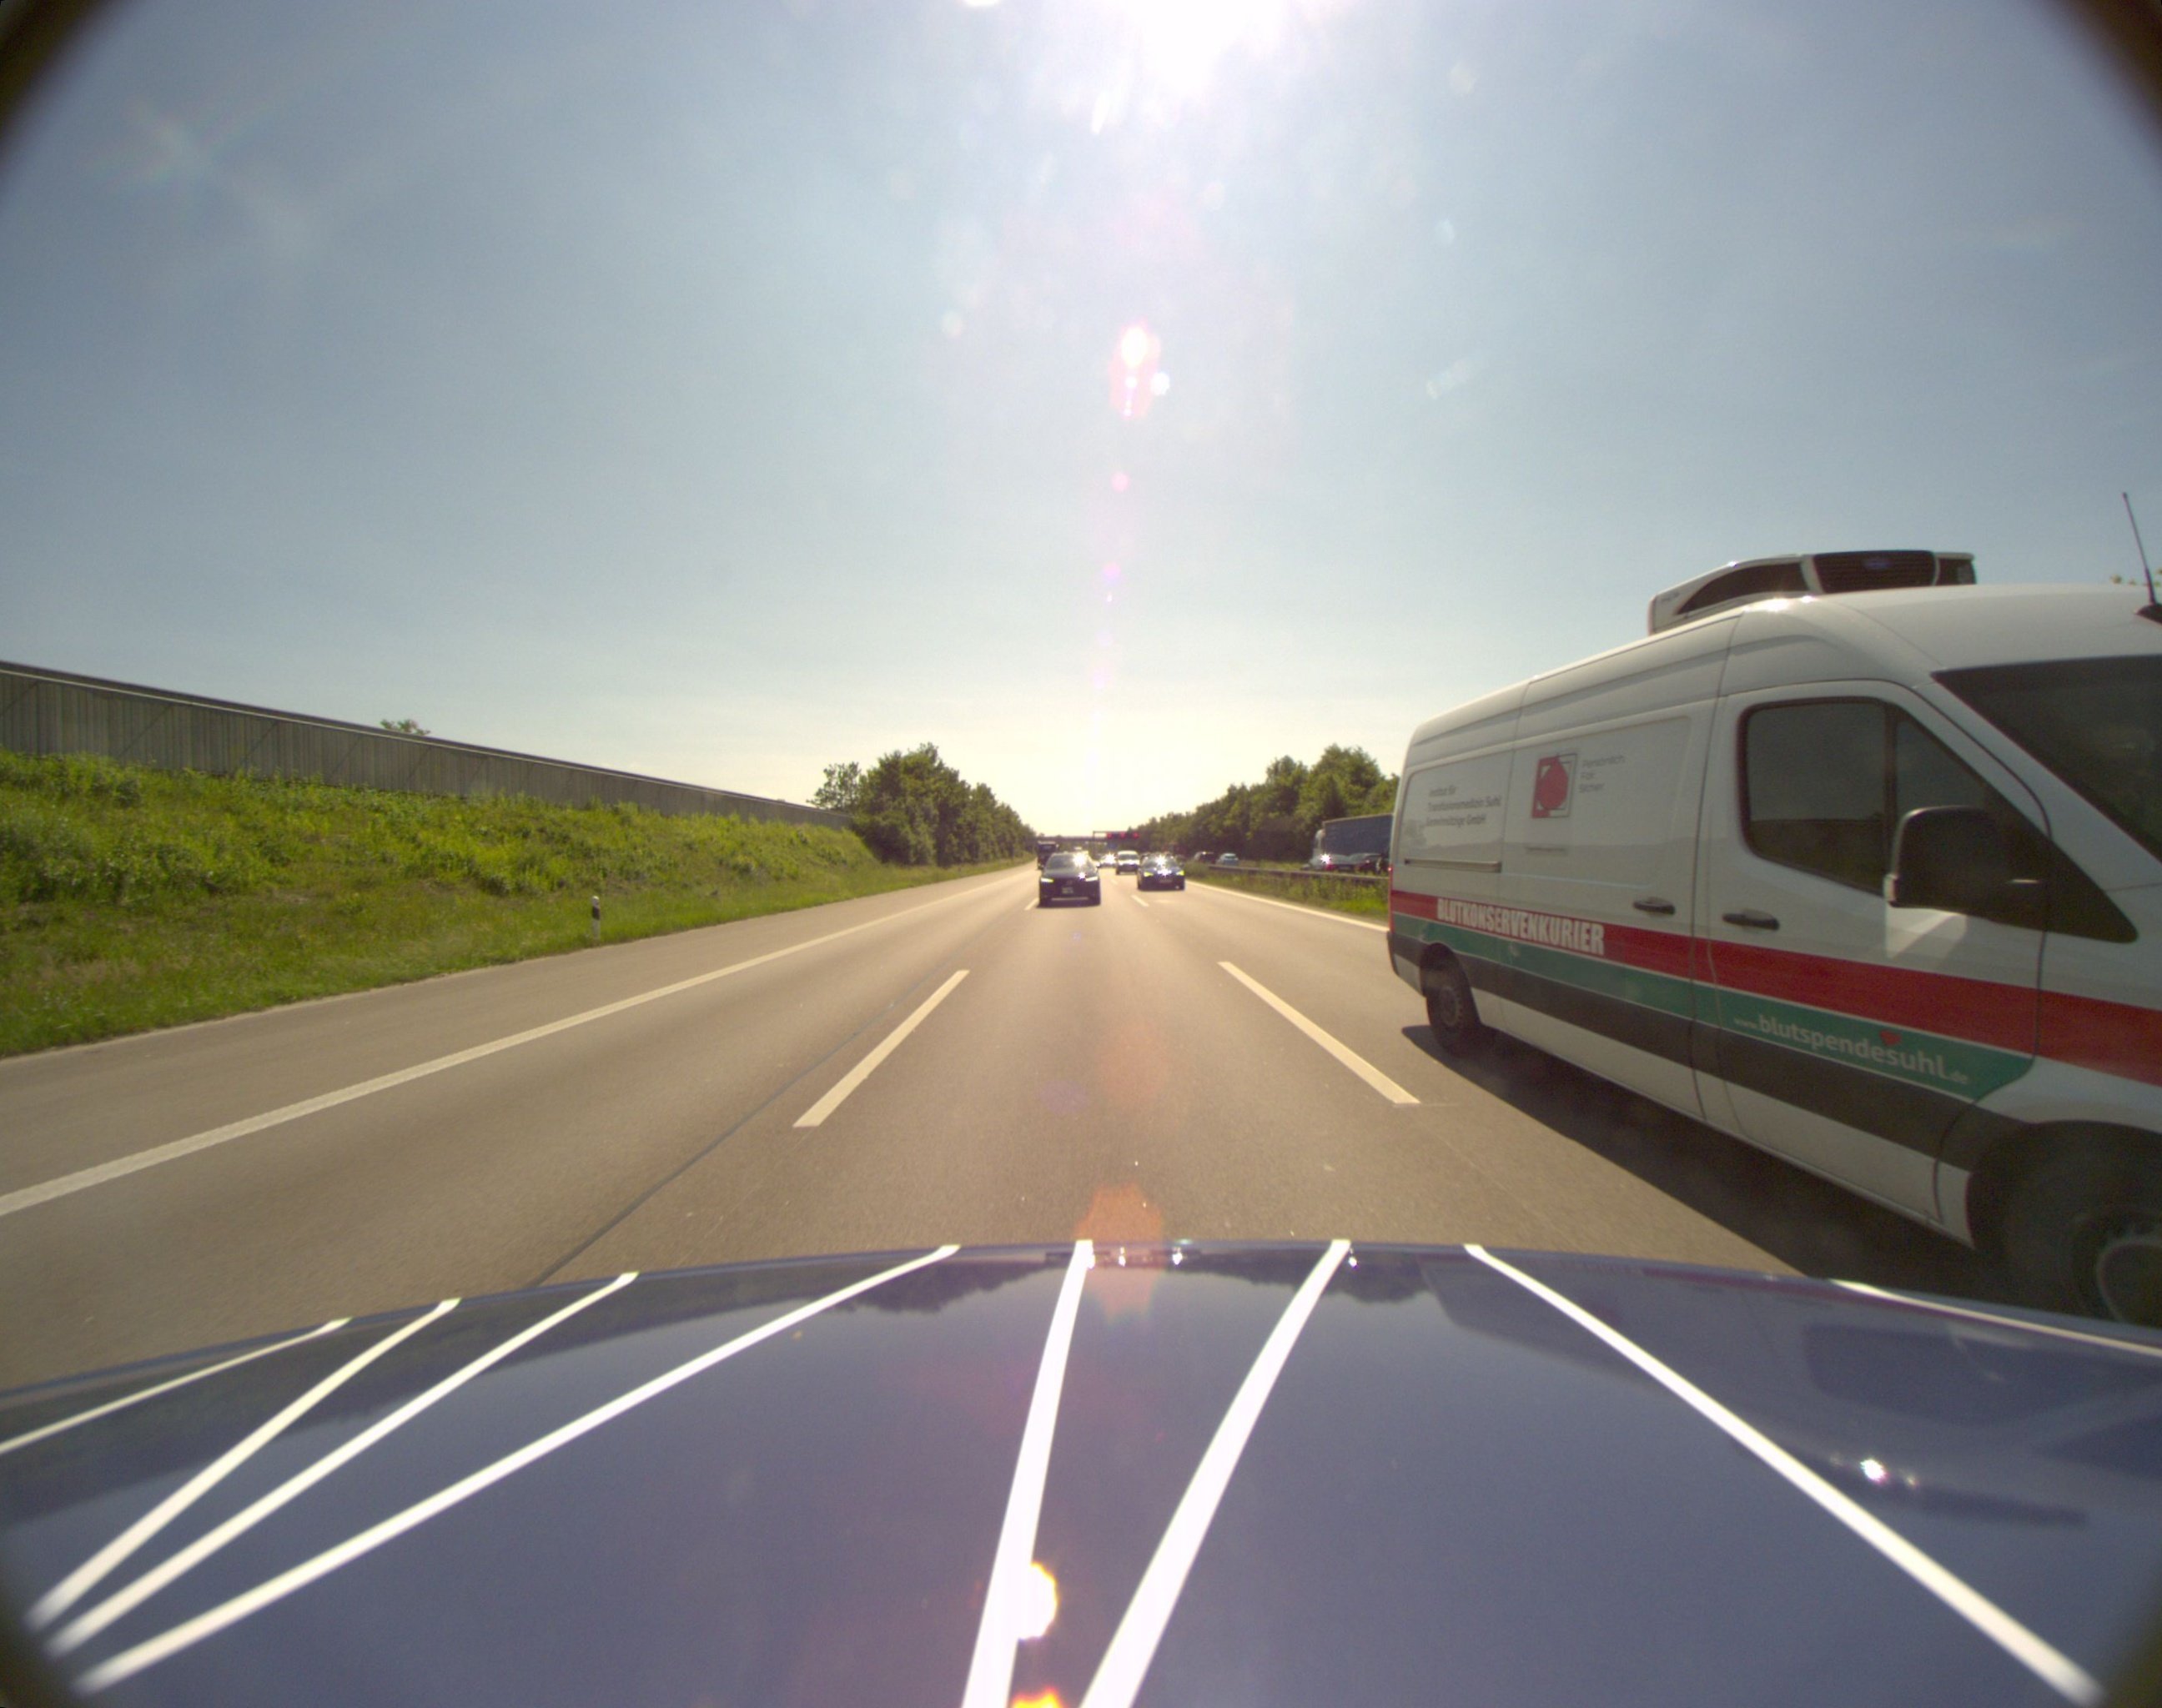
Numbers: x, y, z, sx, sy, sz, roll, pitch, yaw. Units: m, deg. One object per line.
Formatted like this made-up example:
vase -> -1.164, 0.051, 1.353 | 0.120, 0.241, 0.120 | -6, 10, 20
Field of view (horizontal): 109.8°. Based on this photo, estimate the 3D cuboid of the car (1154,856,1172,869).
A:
car -> 12.013, 1.272, 111.481 | 1.999, 1.854, 4.897 | -1, 0, -2

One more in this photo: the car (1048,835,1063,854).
car -> -5.775, -2.109, 169.505 | 3.203, 3.997, 8.124 | 0, 1, -2

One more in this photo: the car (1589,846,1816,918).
car -> 15.960, 0.633, 19.957 | 1.969, 1.631, 4.895 | -1, 0, 0

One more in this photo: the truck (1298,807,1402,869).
truck -> 19.787, -1.068, 57.233 | 2.679, 4.055, 13.957 | 1, 0, 0

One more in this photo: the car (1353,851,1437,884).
car -> 15.342, 0.601, 37.463 | 1.999, 1.501, 5.207 | -1, 0, 0

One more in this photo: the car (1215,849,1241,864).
car -> 15.495, 0.265, 80.424 | 1.799, 1.501, 4.349 | -1, 0, -1

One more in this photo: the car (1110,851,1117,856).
car -> 9.443, -0.137, 222.630 | 1.959, 1.474, 4.345 | -1, 0, 0

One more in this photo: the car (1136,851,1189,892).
car -> 3.486, 0.700, 33.071 | 1.904, 1.616, 4.240 | -2, 0, 1

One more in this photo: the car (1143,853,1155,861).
car -> 15.020, 0.588, 168.411 | 1.999, 1.680, 4.264 | -1, 0, -2

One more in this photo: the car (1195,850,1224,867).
car -> 12.270, 0.402, 72.822 | 1.863, 1.591, 4.720 | -1, 0, -1

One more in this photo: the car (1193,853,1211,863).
car -> 19.073, 0.648, 119.700 | 1.900, 1.430, 4.923 | 2, 0, -1

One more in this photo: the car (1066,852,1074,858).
car -> -3.072, 0.258, 213.534 | 1.998, 1.765, 4.236 | -1, 0, 0

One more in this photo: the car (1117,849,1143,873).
car -> 3.772, 0.516, 58.651 | 1.870, 1.713, 3.980 | -1, 1, 2

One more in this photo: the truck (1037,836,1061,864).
truck -> -4.035, -0.518, 95.841 | 2.966, 3.388, 8.045 | 0, 1, -2

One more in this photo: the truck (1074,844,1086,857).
truck -> -0.202, -1.081, 228.739 | 3.243, 3.684, 10.932 | 0, 1, -2

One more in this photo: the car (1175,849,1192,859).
car -> 15.570, -0.009, 115.518 | 1.900, 1.332, 4.763 | 2, 0, -1

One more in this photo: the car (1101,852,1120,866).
car -> 3.418, 0.565, 87.520 | 1.998, 1.540, 3.999 | -1, 1, 0

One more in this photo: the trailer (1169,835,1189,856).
trailer -> 18.478, -1.530, 143.542 | 2.686, 3.747, 8.405 | 0, 0, -1

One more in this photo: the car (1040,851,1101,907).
car -> -0.360, 0.742, 25.027 | 1.812, 1.648, 3.999 | -2, 0, -1

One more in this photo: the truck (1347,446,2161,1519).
truck -> 3.523, 0.279, 3.706 | 1.999, 2.527, 6.691 | -2, 0, 0

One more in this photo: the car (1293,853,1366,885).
car -> 11.860, 0.663, 36.674 | 1.879, 1.431, 5.018 | -1, 0, 0
